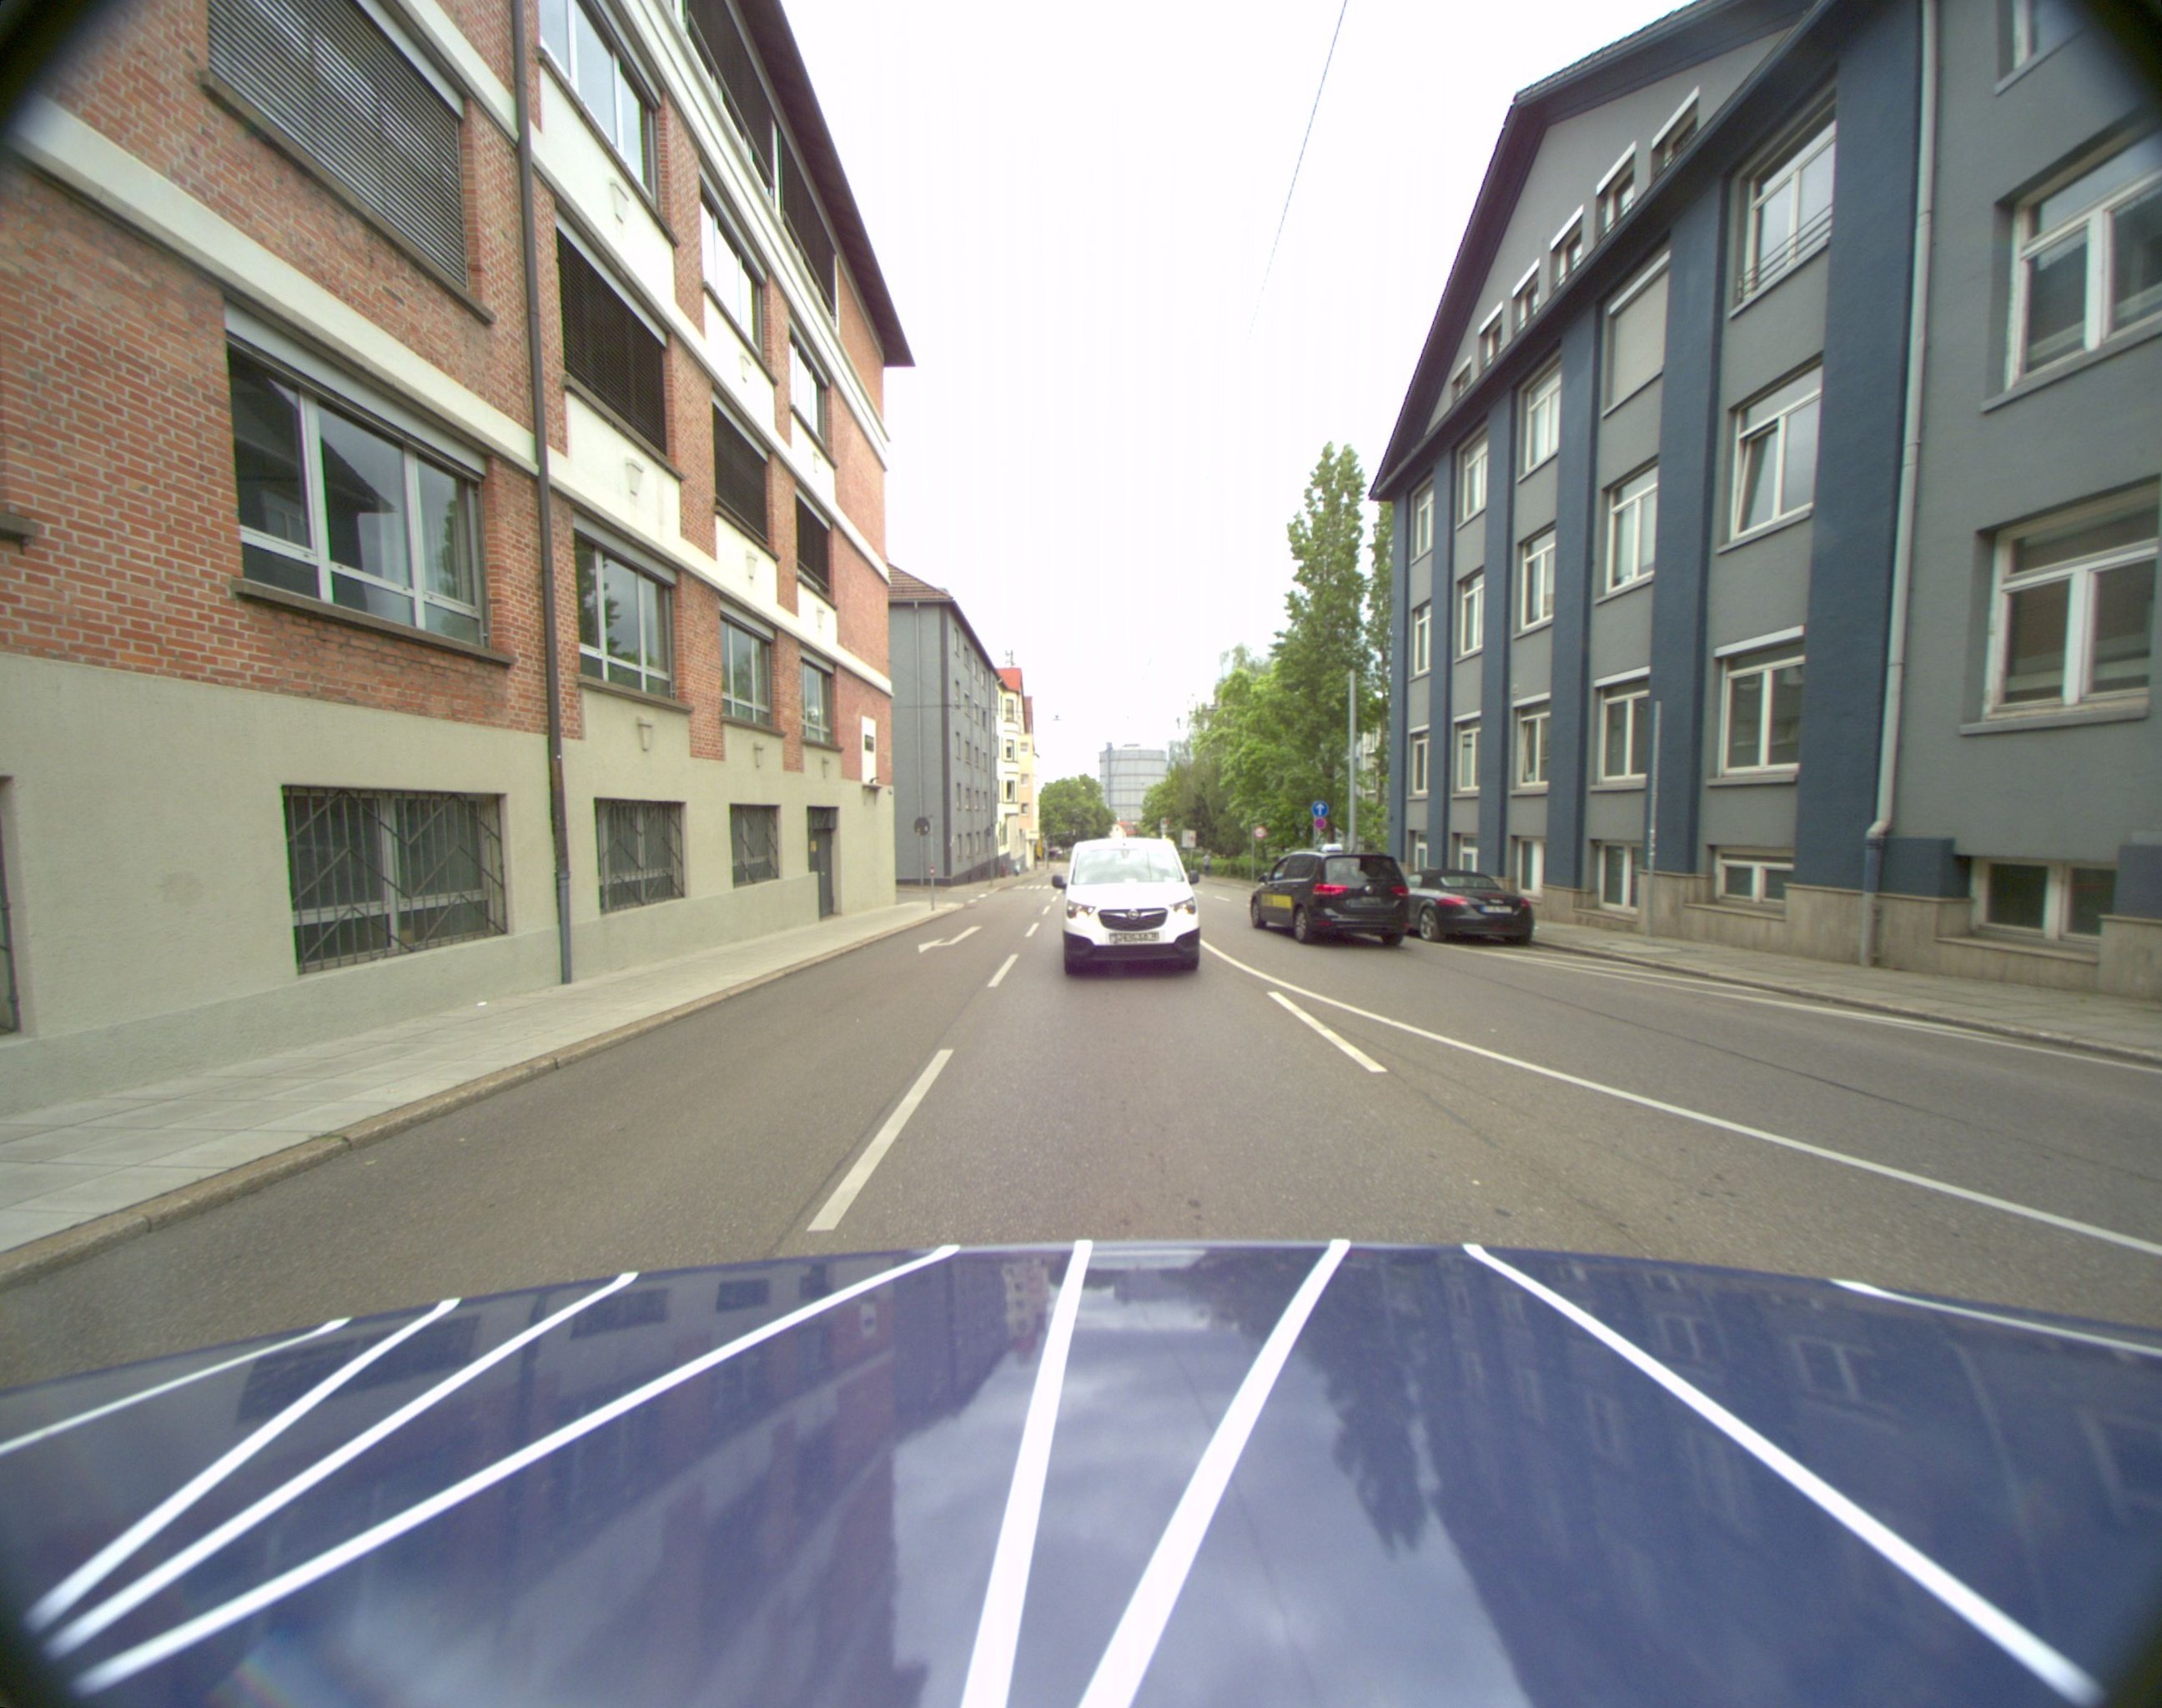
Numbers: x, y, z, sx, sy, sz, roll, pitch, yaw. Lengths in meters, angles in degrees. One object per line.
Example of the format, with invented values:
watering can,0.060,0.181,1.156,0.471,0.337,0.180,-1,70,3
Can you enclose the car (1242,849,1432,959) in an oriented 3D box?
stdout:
car,4.538,0.781,14.239,1.789,1.697,4.305,2,0,-4

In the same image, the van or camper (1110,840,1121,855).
van or camper,6.664,-1.217,146.133,1.914,2.754,5.925,1,0,2

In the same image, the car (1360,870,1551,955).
car,7.139,1.044,14.996,1.724,1.319,4.041,2,0,0

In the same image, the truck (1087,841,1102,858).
truck,2.783,-0.957,159.126,2.980,3.394,9.358,-2,0,1

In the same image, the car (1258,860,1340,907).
car,7.447,0.960,26.346,1.724,1.445,3.727,1,0,0

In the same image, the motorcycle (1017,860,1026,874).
motorcycle,-5.092,1.086,64.908,0.566,1.105,1.653,4,0,2

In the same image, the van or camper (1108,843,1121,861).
van or camper,5.114,-0.283,116.367,1.914,2.754,5.925,1,0,2

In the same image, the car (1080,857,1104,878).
car,0.847,1.006,56.633,1.724,1.486,3.727,1,0,2

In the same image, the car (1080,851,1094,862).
car,0.775,0.321,100.399,1.724,1.486,3.727,1,0,2

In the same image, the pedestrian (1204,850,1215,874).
pedestrian,9.884,0.622,58.516,0.746,1.839,0.776,-1,1,2

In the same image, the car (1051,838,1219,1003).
car,0.656,0.749,11.042,1.840,1.797,4.939,-2,0,1

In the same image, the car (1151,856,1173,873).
car,7.311,0.953,68.894,1.724,1.475,3.727,1,0,2
